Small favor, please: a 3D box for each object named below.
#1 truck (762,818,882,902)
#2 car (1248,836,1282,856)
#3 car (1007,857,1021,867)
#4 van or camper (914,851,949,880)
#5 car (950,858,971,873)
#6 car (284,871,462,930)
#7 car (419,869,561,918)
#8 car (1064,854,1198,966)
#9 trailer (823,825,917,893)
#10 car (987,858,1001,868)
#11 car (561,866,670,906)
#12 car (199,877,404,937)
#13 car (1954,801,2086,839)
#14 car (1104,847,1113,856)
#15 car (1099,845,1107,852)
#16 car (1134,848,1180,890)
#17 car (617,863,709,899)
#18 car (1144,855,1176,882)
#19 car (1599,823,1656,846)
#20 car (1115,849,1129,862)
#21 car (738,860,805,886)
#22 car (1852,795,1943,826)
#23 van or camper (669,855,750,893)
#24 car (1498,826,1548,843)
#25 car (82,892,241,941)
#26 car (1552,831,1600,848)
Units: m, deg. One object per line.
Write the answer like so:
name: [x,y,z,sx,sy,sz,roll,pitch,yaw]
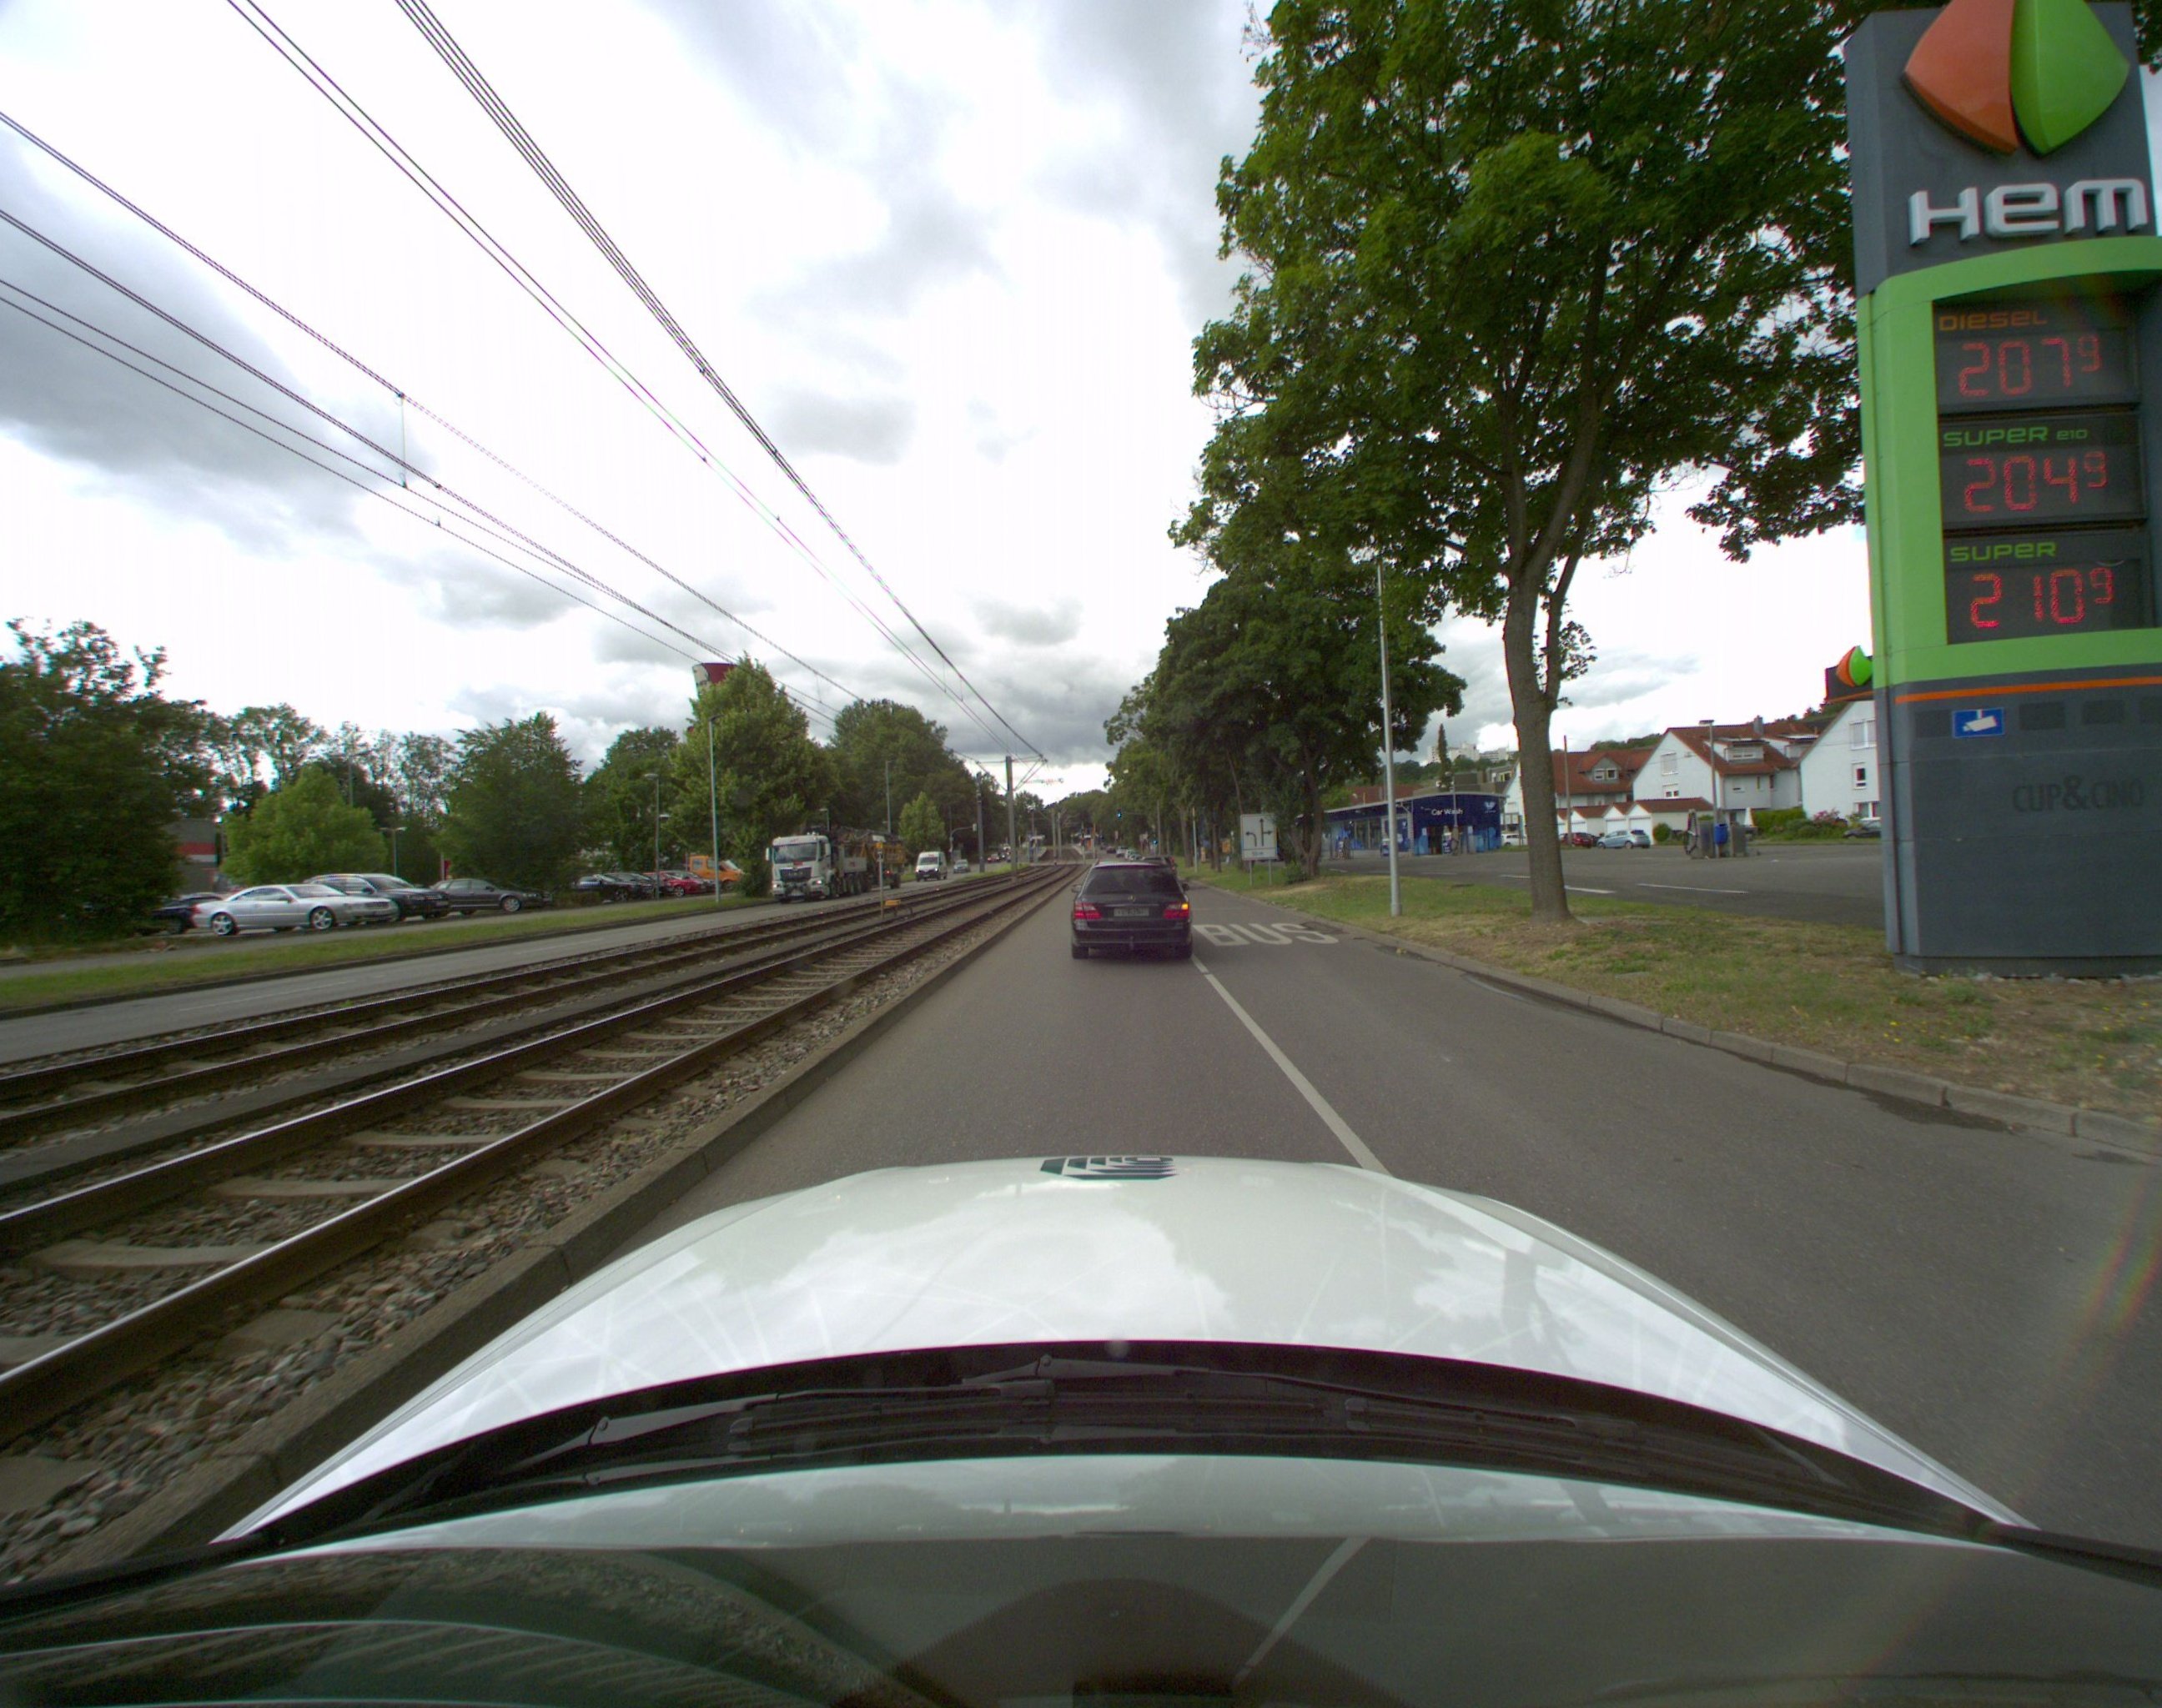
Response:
truck: [-12.955,0.273,42.037,2.699,3.663,11.106,-3,0,-1]
car: [17.219,-0.752,76.079,1.987,1.682,4.607,-3,0,26]
car: [-10.985,1.332,133.432,1.758,1.647,3.772,-1,0,2]
van or camper: [-13.140,0.975,71.864,1.987,2.354,5.764,-3,0,0]
car: [-14.099,1.354,95.652,1.758,1.647,3.772,-1,0,2]
car: [-23.011,1.477,26.588,3.978,1.635,1.876,-3,0,-3]
car: [-22.726,1.499,31.434,3.978,1.599,1.876,-3,0,-3]
car: [0.738,0.766,13.019,1.802,1.474,3.882,-1,0,2]
trailer: [-13.150,0.306,52.283,2.697,3.660,13.291,-3,0,-1]
car: [-14.583,1.448,136.771,1.758,1.647,3.772,-1,0,2]
car: [-22.059,1.500,38.691,3.978,1.599,1.876,-3,0,-3]
car: [-22.815,1.537,23.948,4.294,1.472,1.680,-2,0,-1]
car: [46.764,-1.662,40.671,1.755,1.689,3.985,-1,0,-10]
car: [5.996,-0.507,176.712,1.986,1.838,4.001,-1,0,1]
car: [5.322,-1.331,193.450,1.662,1.532,3.768,-1,0,-2]
car: [3.275,0.628,35.858,1.774,1.750,3.719,0,-1,2]
car: [-22.542,1.425,44.029,3.978,1.797,1.876,-1,0,-3]
car: [4.325,0.763,44.991,1.565,1.414,3.355,0,-1,2]
car: [42.434,-1.497,63.316,1.533,1.599,3.723,-1,0,-10]
car: [5.962,0.239,119.050,1.986,1.838,4.001,-1,0,1]
car: [-21.941,1.341,57.795,3.978,1.599,1.794,-3,0,-3]
car: [51.075,-2.675,51.054,1.683,1.684,4.002,-3,0,2]
van or camper: [-22.291,1.164,48.979,3.978,2.135,1.876,-1,0,-3]
car: [45.811,-2.034,84.462,4.203,1.684,1.777,-1,0,-1]
car: [-34.210,2.302,30.379,3.940,1.507,1.683,-3,0,0]
car: [41.594,-1.208,68.491,1.581,1.394,3.405,-1,0,-10]
